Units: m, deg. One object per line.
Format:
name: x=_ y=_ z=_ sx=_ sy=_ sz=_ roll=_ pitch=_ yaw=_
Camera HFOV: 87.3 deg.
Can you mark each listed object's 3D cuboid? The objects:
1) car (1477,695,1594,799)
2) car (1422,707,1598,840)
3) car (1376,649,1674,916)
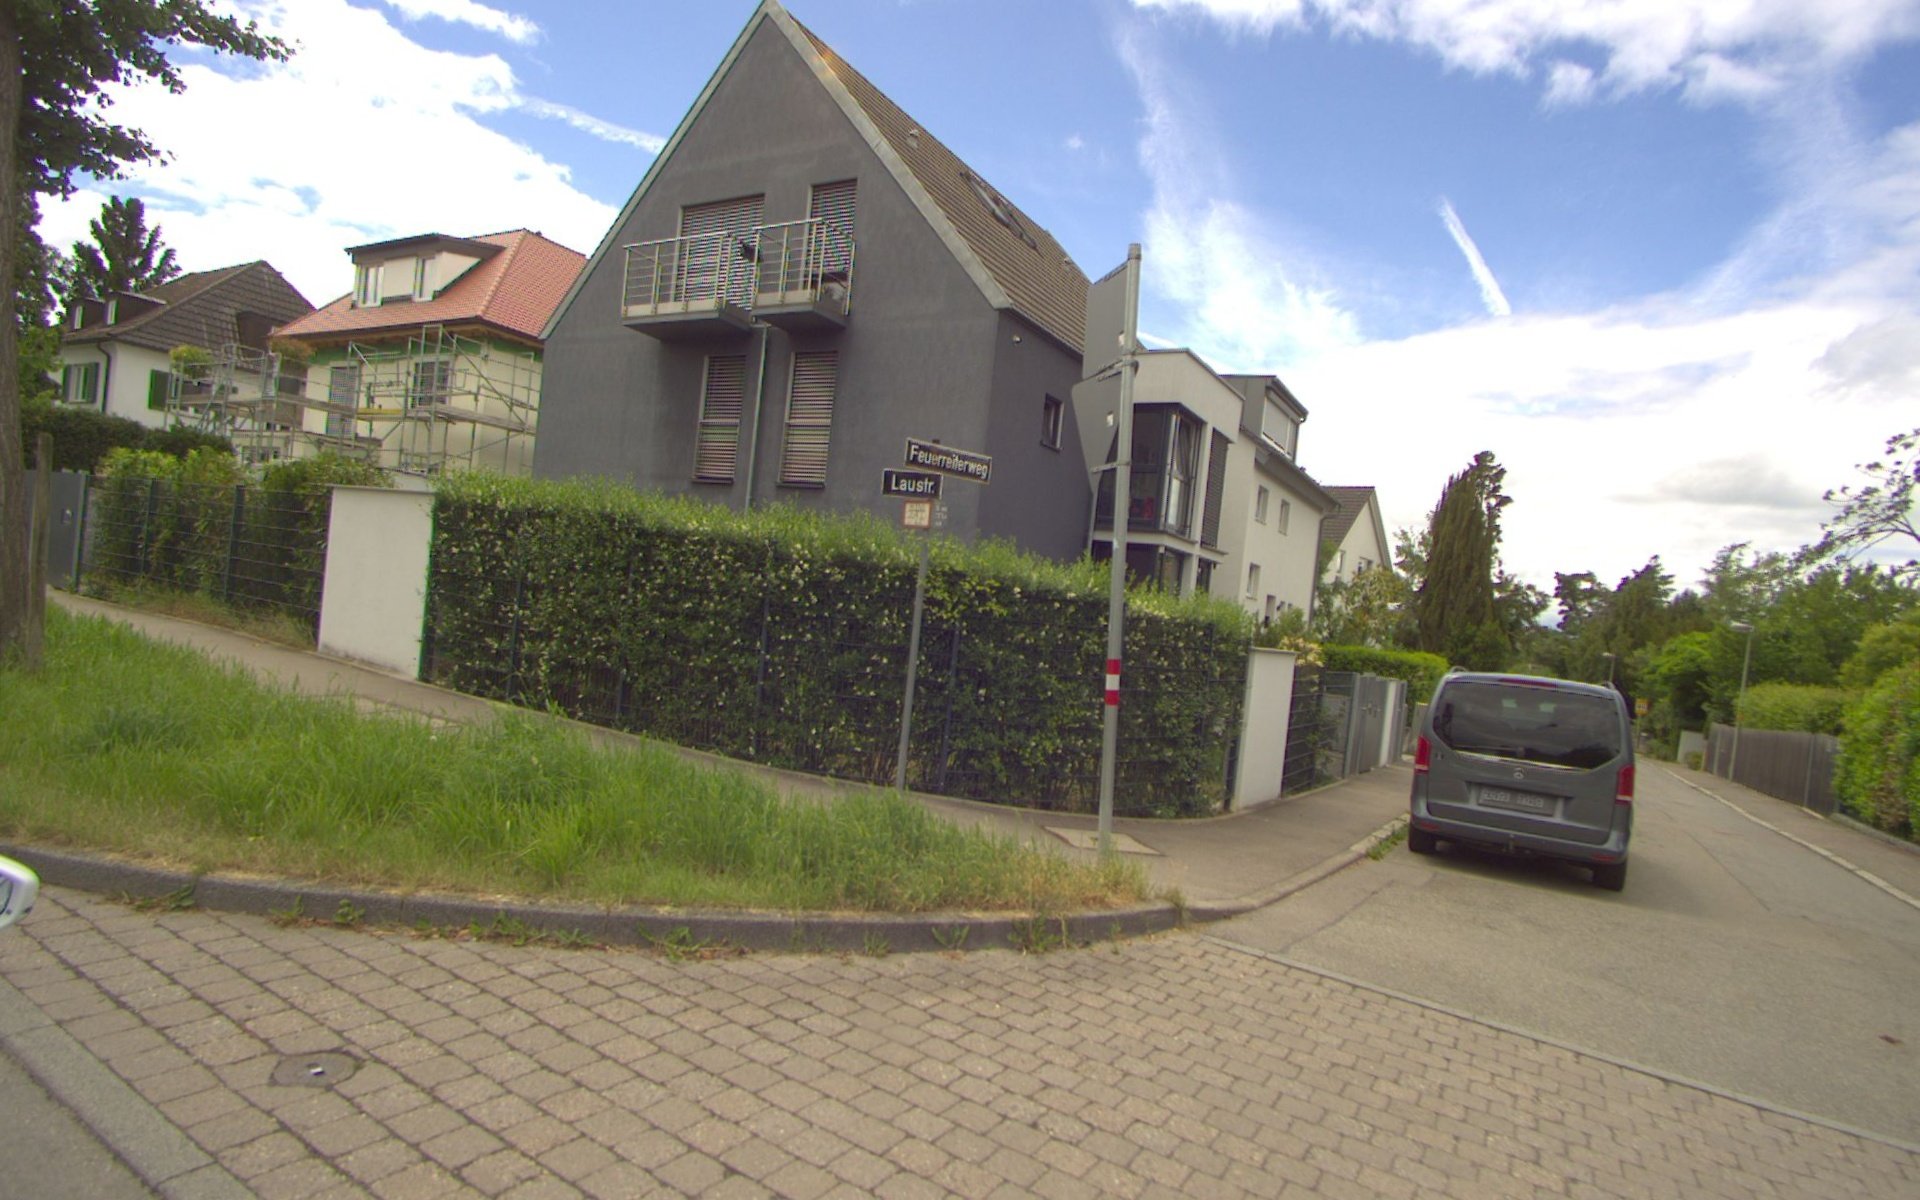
car: x=12.207 y=3.031 z=21.316 sx=1.799 sy=1.723 sz=4.121 roll=7 pitch=-2 yaw=31
car: x=8.496 y=2.533 z=15.476 sx=1.967 sy=1.475 sz=3.995 roll=7 pitch=-2 yaw=31
car: x=6.166 y=1.786 z=11.013 sx=2.123 sy=1.989 sz=4.769 roll=7 pitch=-2 yaw=31
